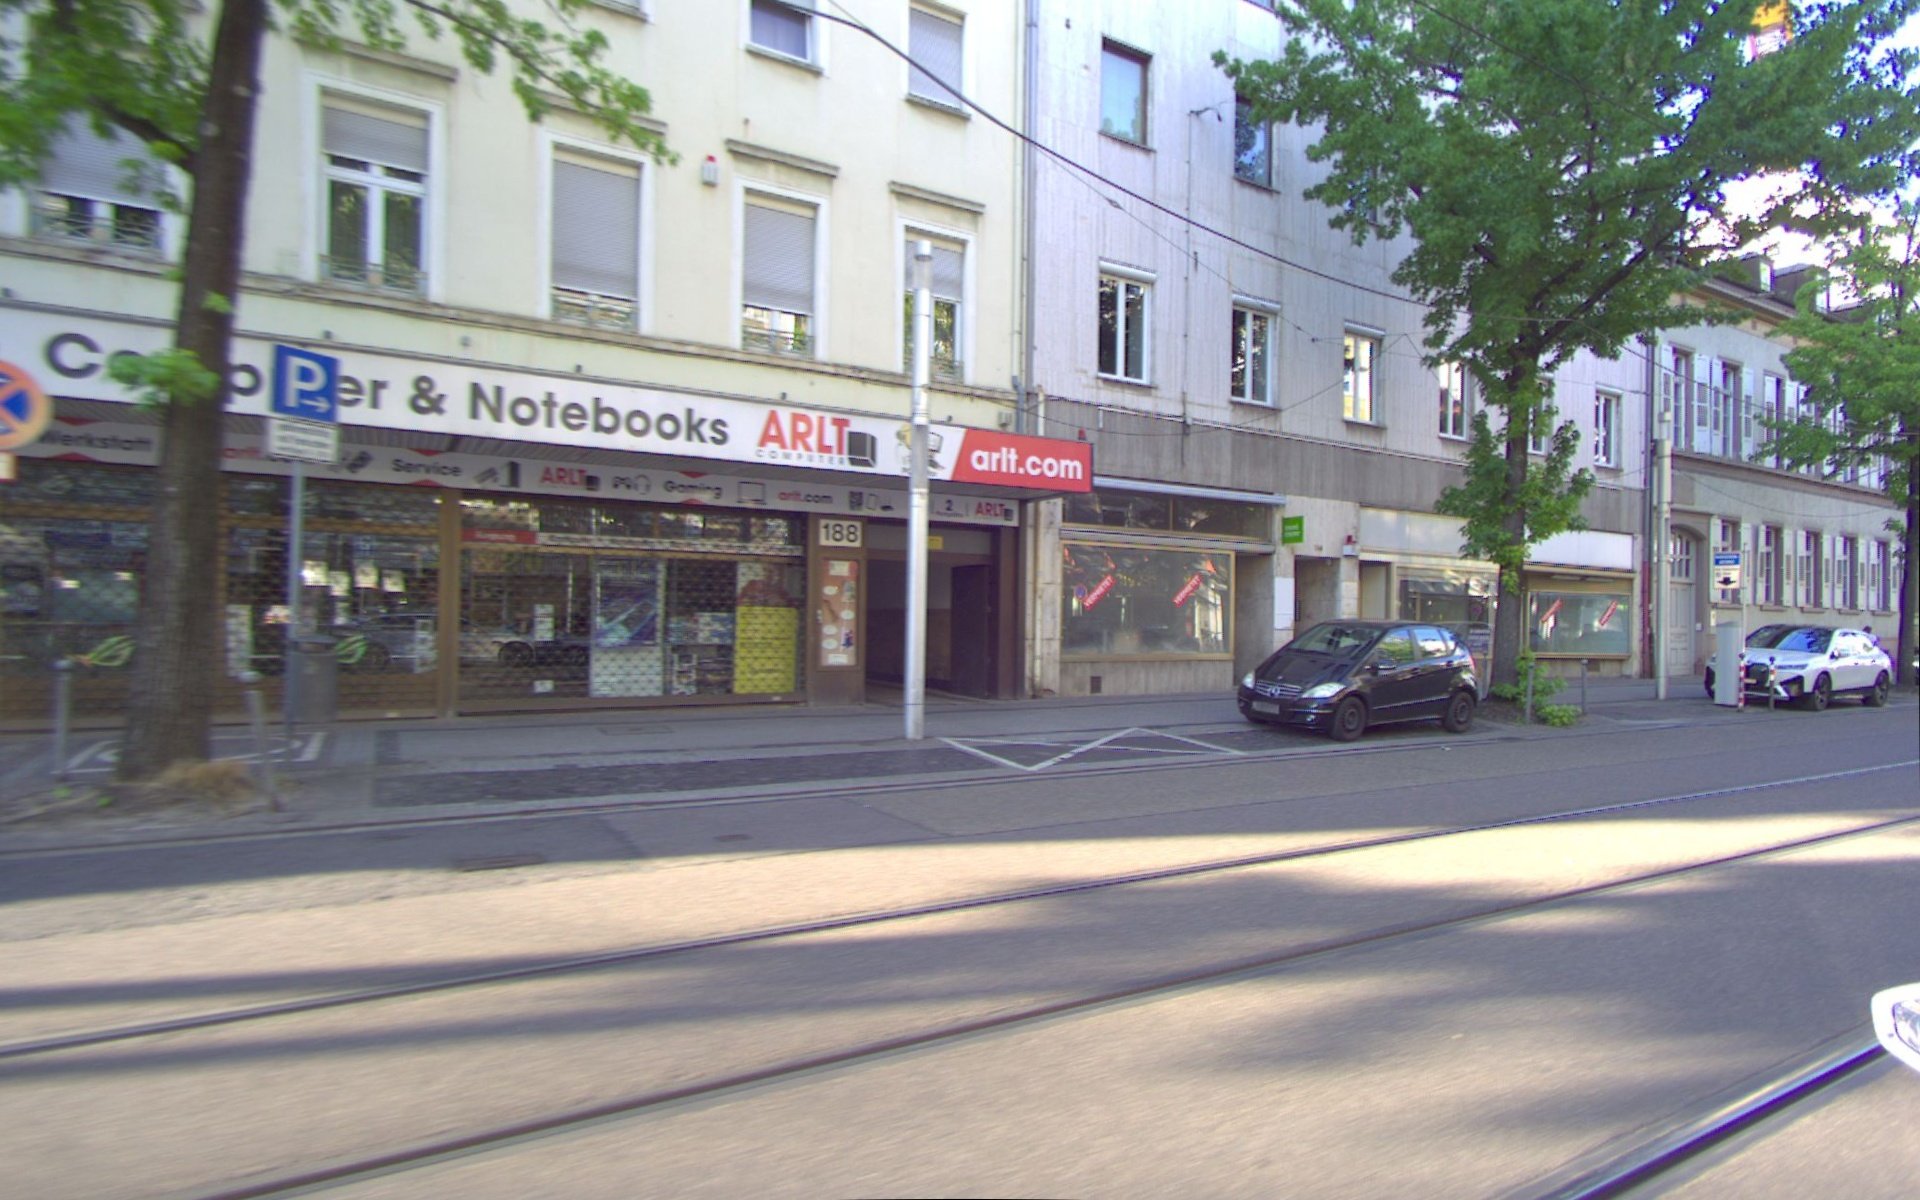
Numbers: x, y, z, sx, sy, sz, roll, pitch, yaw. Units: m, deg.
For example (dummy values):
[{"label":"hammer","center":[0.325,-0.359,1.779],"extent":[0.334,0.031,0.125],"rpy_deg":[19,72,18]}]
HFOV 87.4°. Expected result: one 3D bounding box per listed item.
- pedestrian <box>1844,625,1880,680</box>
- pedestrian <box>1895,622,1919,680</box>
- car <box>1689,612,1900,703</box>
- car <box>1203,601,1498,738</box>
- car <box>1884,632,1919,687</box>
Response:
[{"label":"pedestrian","center":[29.015,1.682,32.310],"extent":[0.640,1.702,0.671],"rpy_deg":[2,0,-30]},{"label":"pedestrian","center":[29.531,1.579,31.070],"extent":[0.648,1.744,0.683],"rpy_deg":[2,1,-30]},{"label":"car","center":[18.310,1.242,22.001],"extent":[4.756,1.662,1.952],"rpy_deg":[2,3,-30]},{"label":"car","center":[5.829,0.985,14.955],"extent":[3.952,1.662,1.953],"rpy_deg":[2,3,-29]},{"label":"car","center":[27.796,1.691,27.948],"extent":[4.795,1.431,1.950],"rpy_deg":[2,0,-33]}]
